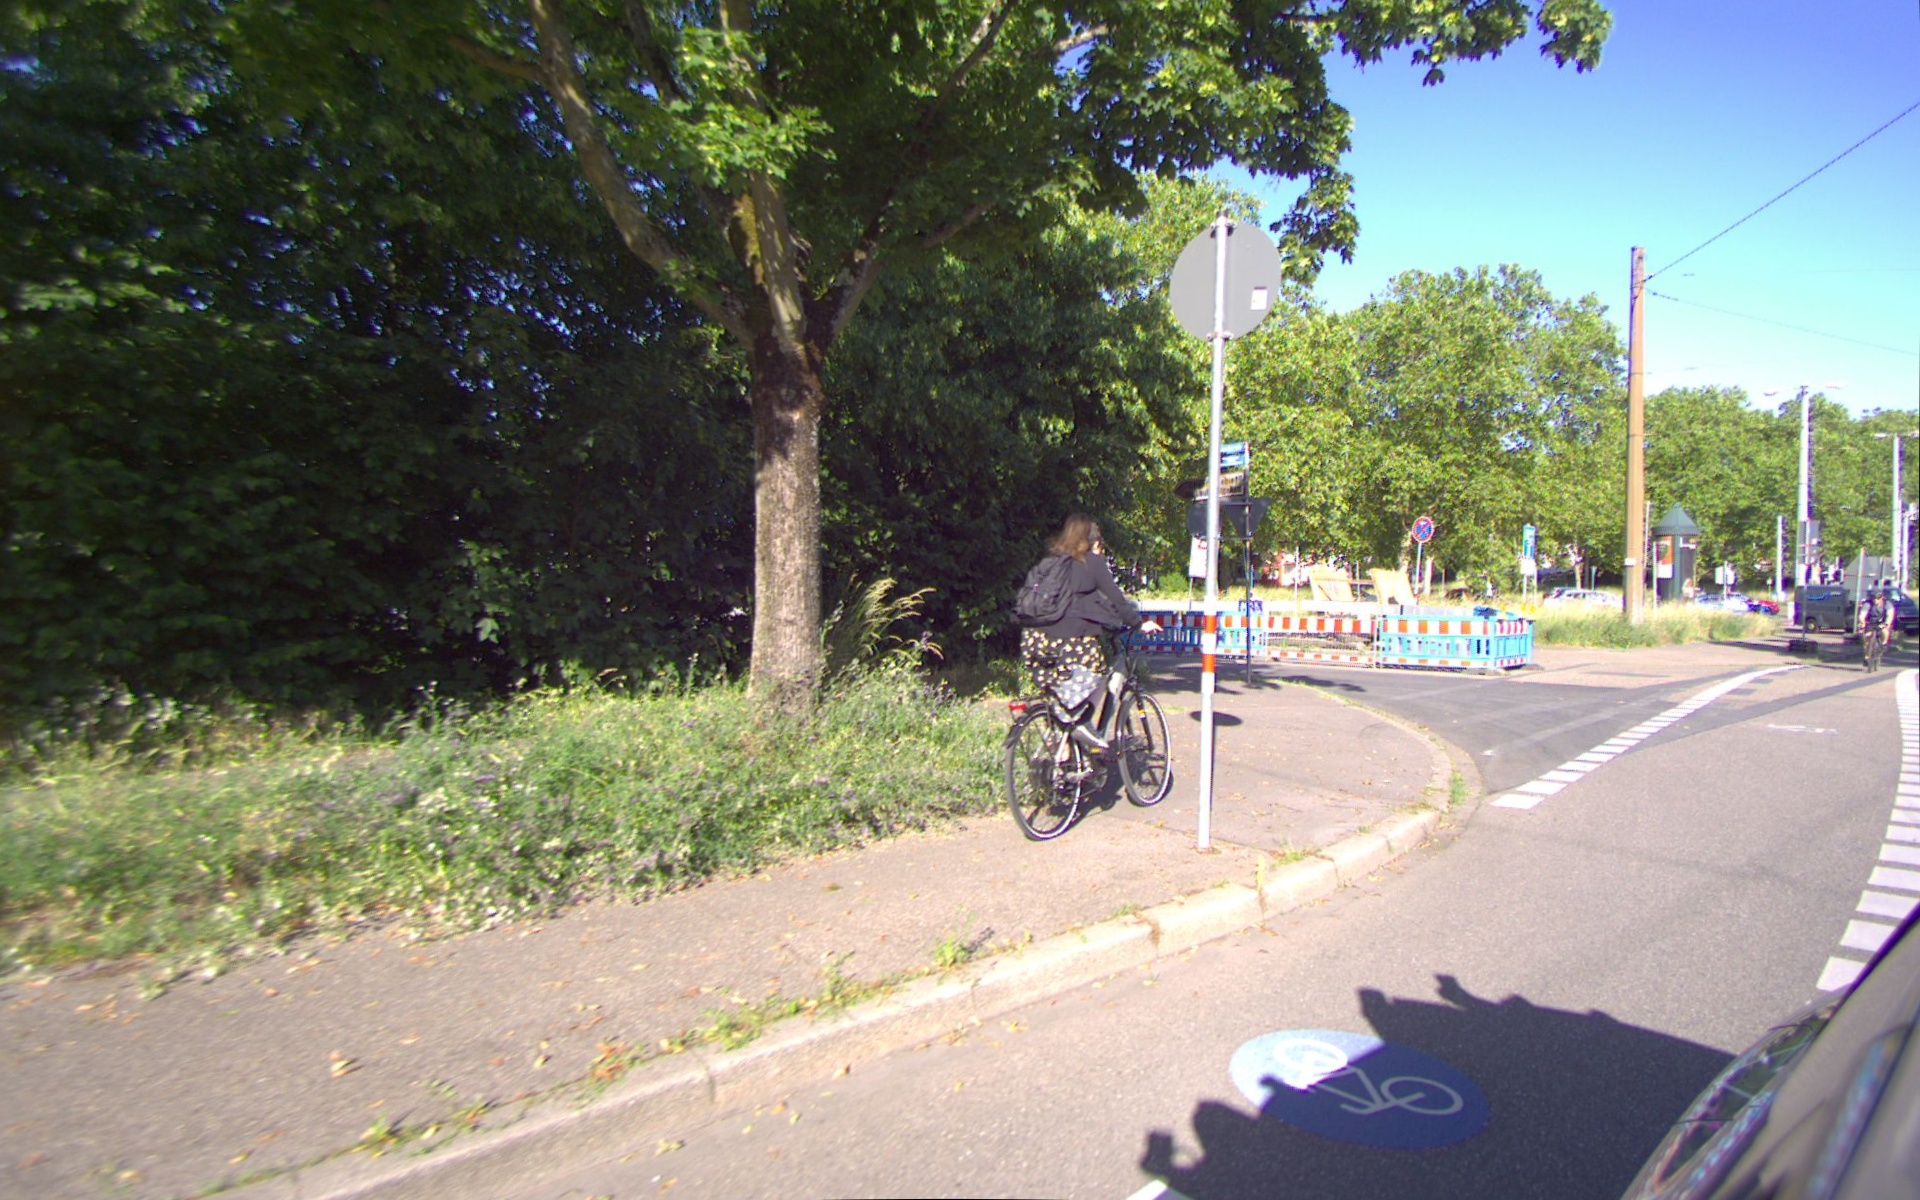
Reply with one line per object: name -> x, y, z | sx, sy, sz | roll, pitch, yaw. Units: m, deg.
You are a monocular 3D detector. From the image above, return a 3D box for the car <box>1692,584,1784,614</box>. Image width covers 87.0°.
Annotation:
car -> 44.748, -0.079, 58.285 | 3.818, 1.620, 1.699 | 2, 1, 24

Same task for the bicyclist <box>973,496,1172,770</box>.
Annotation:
bicyclist -> 0.633, 0.150, 5.664 | 0.755, 1.385, 0.795 | 3, 2, 40

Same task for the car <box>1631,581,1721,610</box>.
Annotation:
car -> 46.495, -0.348, 65.822 | 4.449, 1.732, 1.905 | 1, 2, 26

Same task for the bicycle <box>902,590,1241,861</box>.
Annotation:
bicycle -> 0.768, 0.598, 5.842 | 0.618, 1.204, 2.470 | 7, 4, 39

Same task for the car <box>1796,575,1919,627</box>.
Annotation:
car -> 40.041, -0.029, 44.518 | 2.089, 2.096, 5.124 | 0, 2, -3

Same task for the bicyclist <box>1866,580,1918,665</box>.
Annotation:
bicyclist -> 19.294, 0.451, 20.949 | 0.916, 1.700, 0.617 | -1, 2, -38

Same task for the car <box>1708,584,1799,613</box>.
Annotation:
car -> 47.943, -0.093, 61.232 | 4.055, 1.620, 1.798 | 2, 2, 30

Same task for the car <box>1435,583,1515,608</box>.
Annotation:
car -> 33.087, -0.314, 65.156 | 4.524, 1.425, 1.918 | 2, 2, 26

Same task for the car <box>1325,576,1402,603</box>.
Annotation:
car -> 27.331, -0.701, 68.621 | 4.728, 1.703, 1.892 | 0, 2, 27

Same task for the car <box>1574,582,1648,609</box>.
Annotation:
car -> 41.679, -0.323, 64.895 | 3.826, 1.620, 1.696 | 2, 2, 29

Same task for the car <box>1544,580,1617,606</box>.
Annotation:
car -> 41.488, -0.507, 67.778 | 3.960, 1.638, 1.982 | 2, 2, 26

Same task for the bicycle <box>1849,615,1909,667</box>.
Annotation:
bicycle -> 19.056, 0.833, 20.970 | 2.050, 0.934, 0.525 | -2, 3, -37

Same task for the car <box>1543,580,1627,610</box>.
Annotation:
car -> 38.238, -0.311, 62.035 | 4.132, 1.699, 1.918 | 1, 2, 25

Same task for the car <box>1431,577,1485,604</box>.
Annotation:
car -> 33.606, -0.656, 68.371 | 3.176, 1.635, 1.362 | 1, 5, 26
